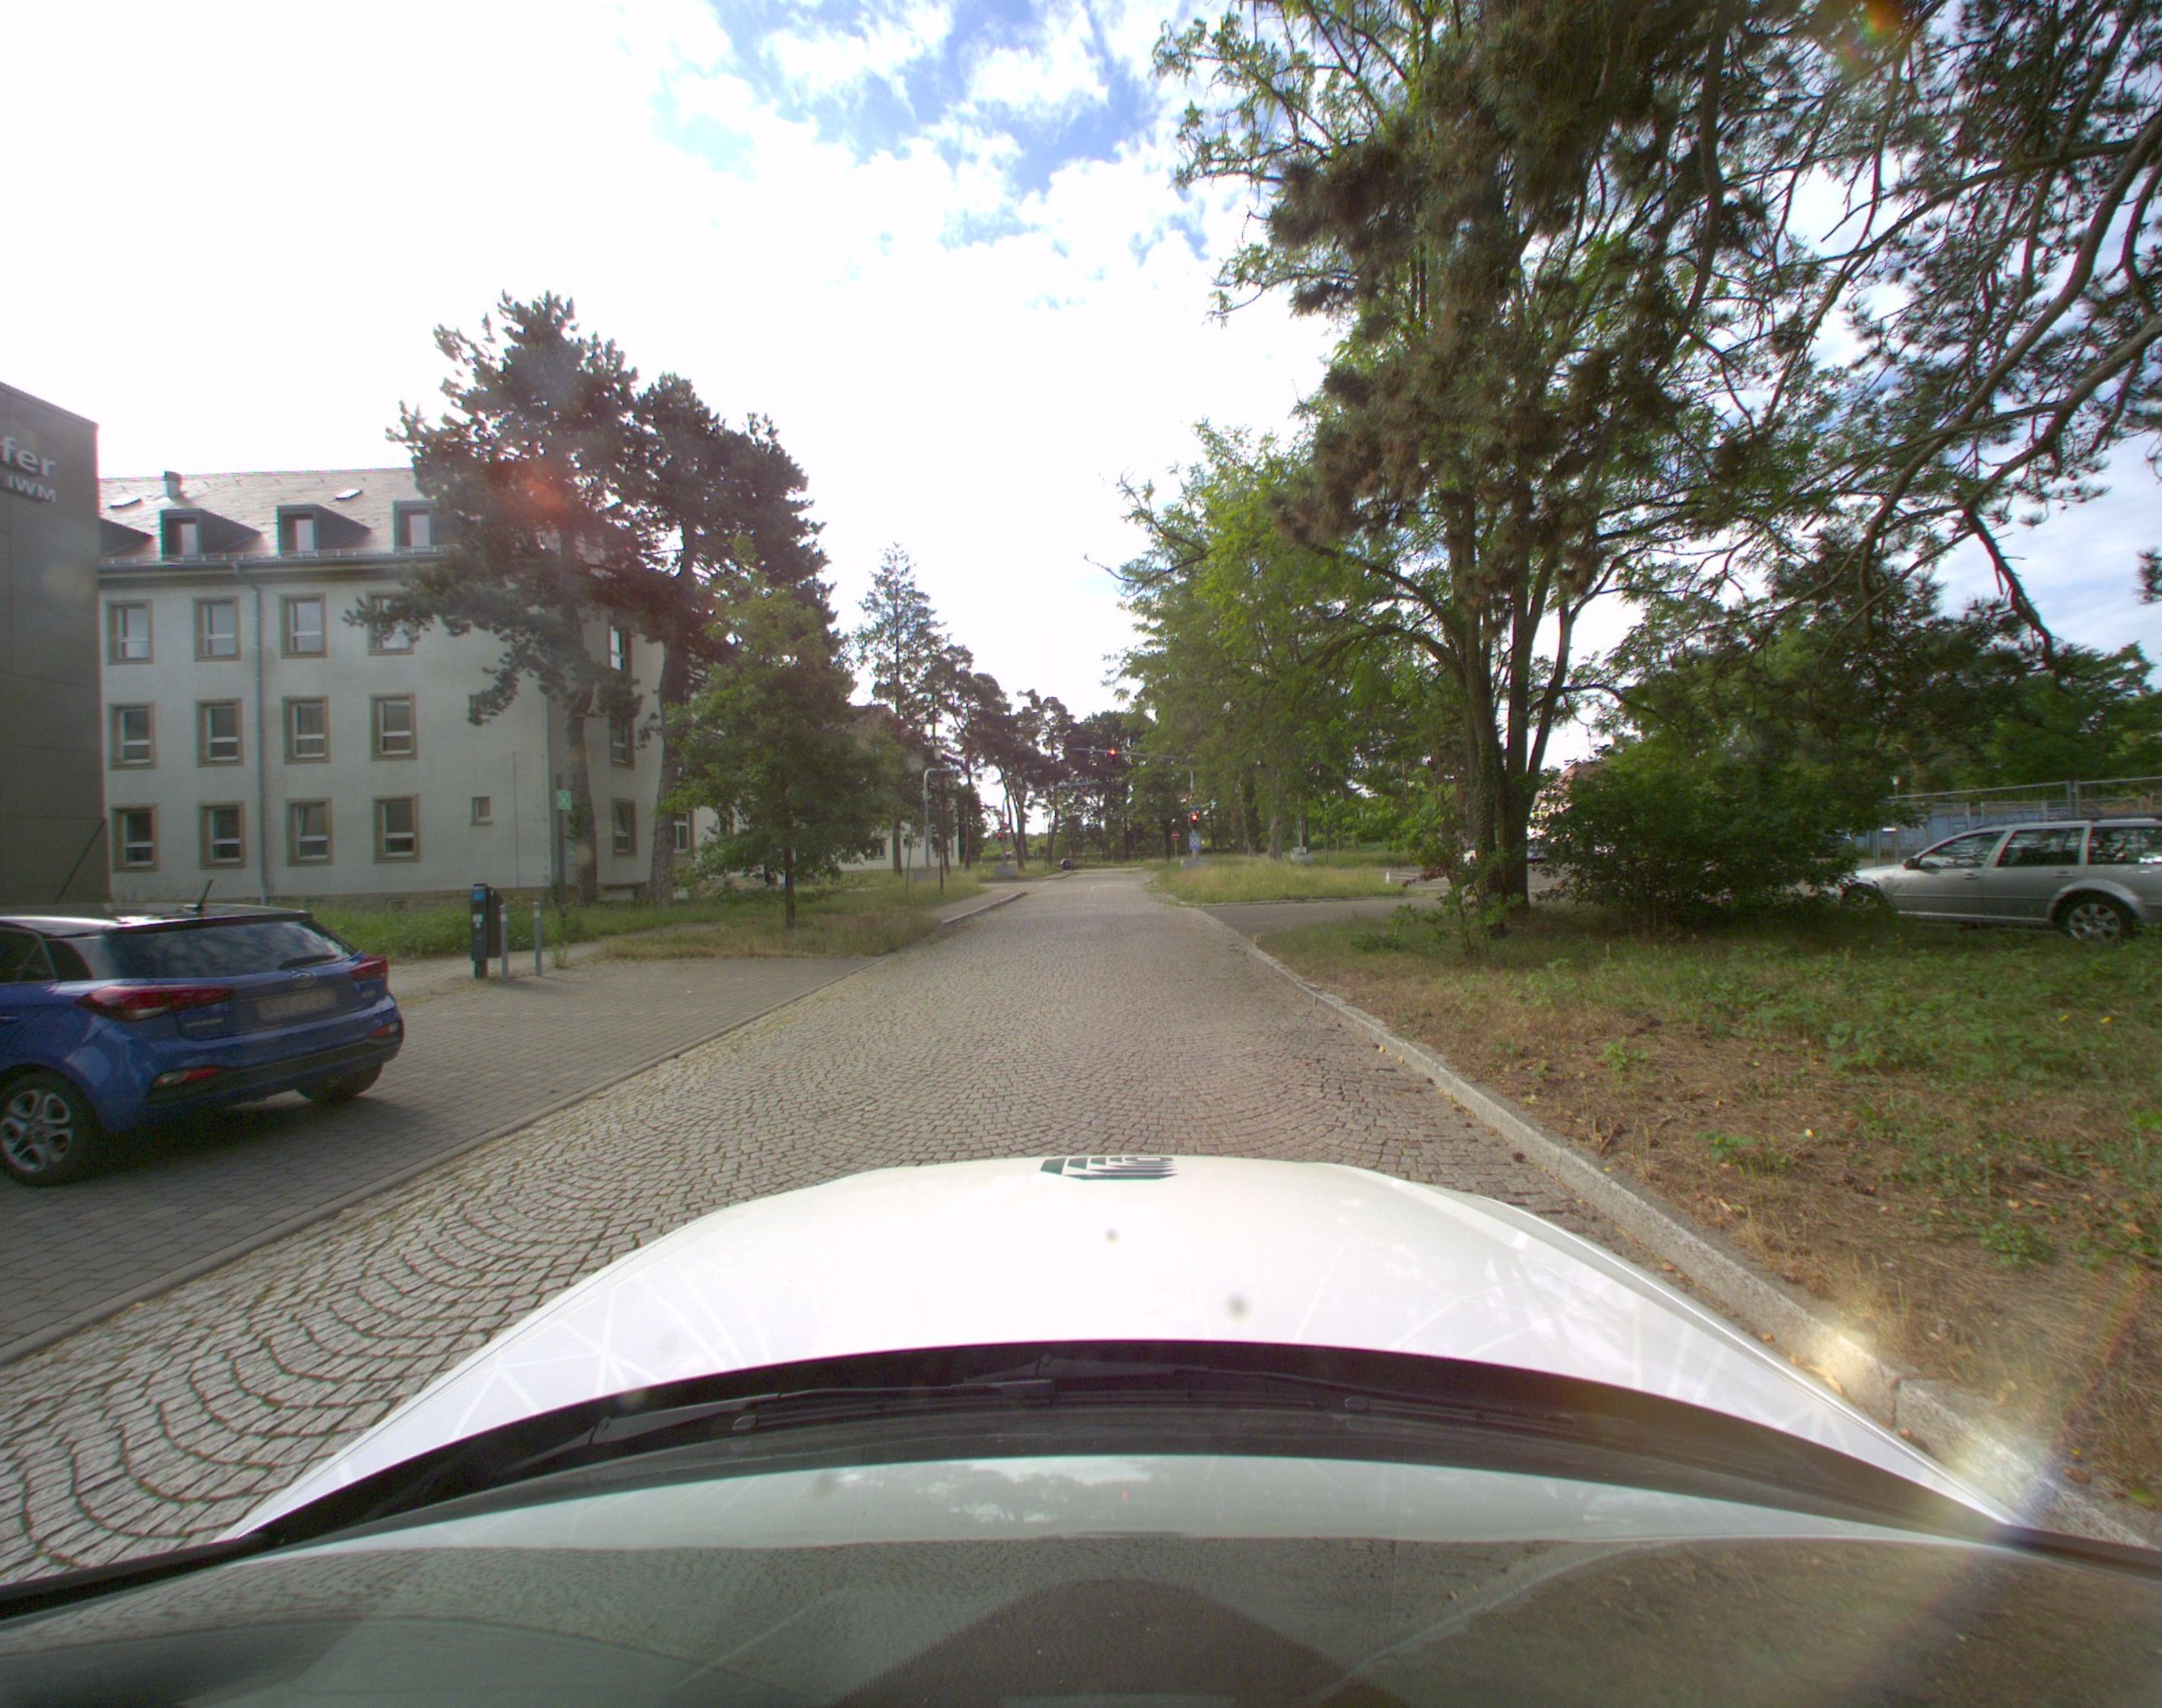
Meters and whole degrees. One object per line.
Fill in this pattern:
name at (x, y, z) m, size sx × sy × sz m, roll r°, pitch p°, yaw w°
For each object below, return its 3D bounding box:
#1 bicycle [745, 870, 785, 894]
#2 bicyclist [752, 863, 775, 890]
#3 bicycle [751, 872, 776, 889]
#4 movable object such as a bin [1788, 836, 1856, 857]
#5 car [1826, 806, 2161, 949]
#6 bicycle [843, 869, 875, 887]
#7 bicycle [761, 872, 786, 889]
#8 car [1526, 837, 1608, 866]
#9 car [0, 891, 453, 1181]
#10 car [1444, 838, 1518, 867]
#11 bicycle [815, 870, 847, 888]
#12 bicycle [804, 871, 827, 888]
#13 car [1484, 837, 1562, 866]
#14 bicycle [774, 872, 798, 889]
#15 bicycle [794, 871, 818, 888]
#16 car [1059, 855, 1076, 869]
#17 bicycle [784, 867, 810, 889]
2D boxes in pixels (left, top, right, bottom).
bicycle at (-19.937, 1.744, 51.418) m, size 2.165 × 1.387 × 0.941 m, roll -2°, pitch 0°, yaw 10°
bicyclist at (-20.031, 1.412, 51.441) m, size 0.914 × 1.697 × 0.960 m, roll -2°, pitch -1°, yaw 10°
bicycle at (-21.659, 1.804, 55.628) m, size 0.733 × 1.076 × 2.274 m, roll -2°, pitch 0°, yaw 2°
movable object such as a bin at (31.480, -0.325, 34.644) m, size 1.179 × 0.825 × 1.957 m, roll -2°, pitch 0°, yaw 6°
car at (11.611, 0.246, 9.793) m, size 1.640 × 1.427 × 4.073 m, roll 1°, pitch 0°, yaw 1°
bicycle at (-14.780, 1.591, 54.290) m, size 1.848 × 1.076 × 0.832 m, roll -2°, pitch 0°, yaw 3°
bicycle at (-20.931, 1.780, 55.539) m, size 0.733 × 1.076 × 2.274 m, roll -2°, pitch 0°, yaw 2°
car at (28.272, -0.122, 47.555) m, size 1.988 × 1.481 × 4.422 m, roll -2°, pitch -2°, yaw -2°
car at (-6.766, 1.048, 5.446) m, size 3.748 × 1.478 × 1.854 m, roll -1°, pitch 0°, yaw 4°
car at (23.088, -0.065, 47.204) m, size 1.988 × 1.481 × 4.422 m, roll -2°, pitch -2°, yaw -2°
bicycle at (-16.662, 1.648, 54.296) m, size 1.848 × 1.076 × 0.739 m, roll -2°, pitch 0°, yaw 3°
bicycle at (-18.102, 1.716, 55.581) m, size 0.733 × 1.076 × 2.274 m, roll -2°, pitch 0°, yaw 2°
car at (25.603, -0.093, 47.325) m, size 1.988 × 1.481 × 4.422 m, roll -2°, pitch -2°, yaw -2°
bicycle at (-20.269, 1.785, 56.017) m, size 0.733 × 1.076 × 2.274 m, roll -2°, pitch 0°, yaw 2°
bicycle at (-18.744, 1.745, 55.516) m, size 0.733 × 1.076 × 2.274 m, roll -2°, pitch 0°, yaw 2°
car at (-1.785, 1.079, 111.360) m, size 2.048 × 1.846 × 4.001 m, roll -2°, pitch 0°, yaw 1°
bicycle at (-19.478, 1.625, 55.889) m, size 0.733 × 1.385 × 2.713 m, roll -2°, pitch 0°, yaw 2°
